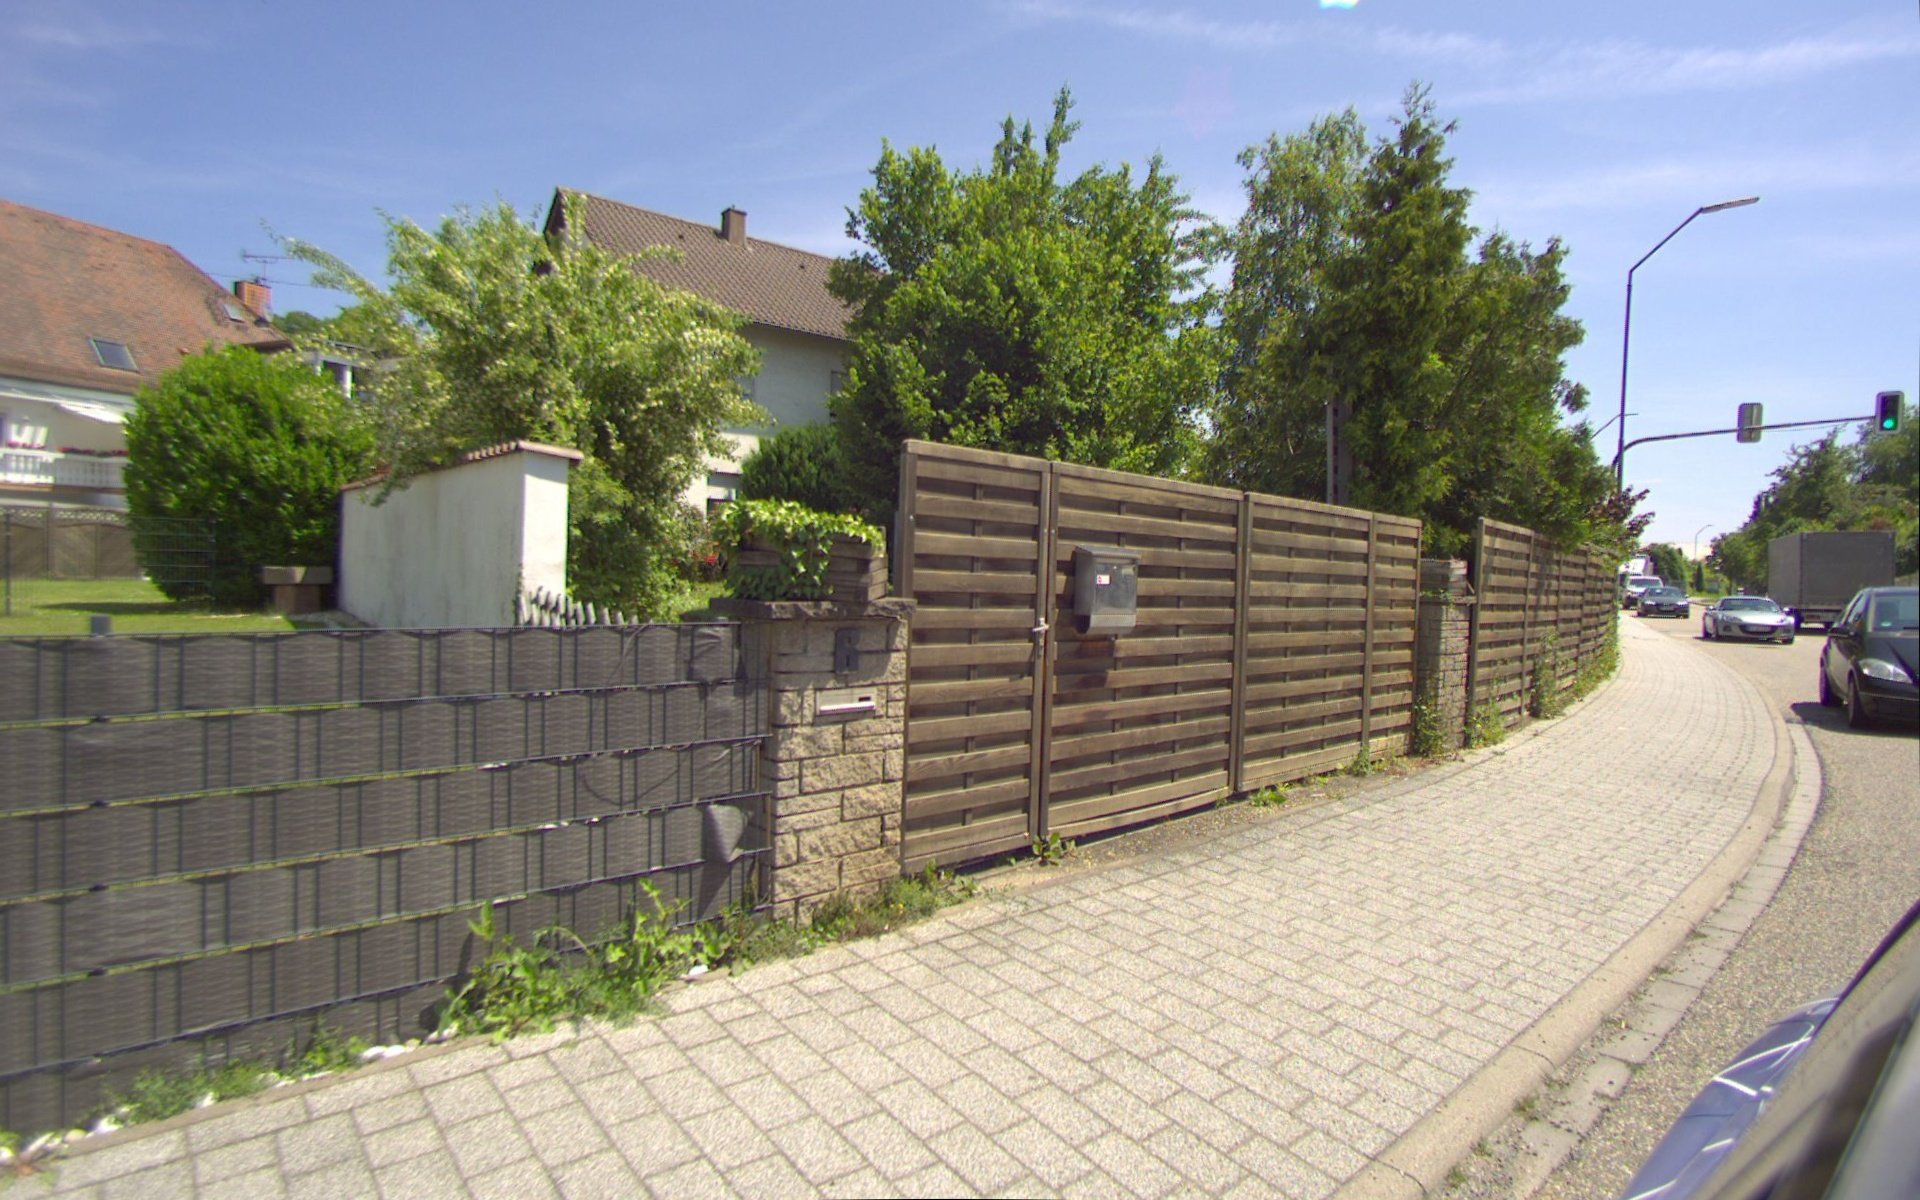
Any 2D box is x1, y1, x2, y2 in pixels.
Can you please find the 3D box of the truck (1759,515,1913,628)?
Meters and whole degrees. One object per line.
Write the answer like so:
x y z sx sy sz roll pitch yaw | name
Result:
29.630 -0.900 34.578 2.453 3.410 7.537 -1 0 30 | truck

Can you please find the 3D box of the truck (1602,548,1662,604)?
48.372 -1.723 73.048 3.184 3.642 8.210 6 4 32 | truck

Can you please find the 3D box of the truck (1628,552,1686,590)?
66.645 -2.802 96.984 2.825 3.271 8.099 5 3 23 | truck

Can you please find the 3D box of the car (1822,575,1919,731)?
11.538 0.523 11.888 1.754 1.612 4.145 1 1 35 | car

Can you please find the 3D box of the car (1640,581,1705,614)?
32.218 -0.118 45.835 1.881 1.393 3.961 1 1 28 | car

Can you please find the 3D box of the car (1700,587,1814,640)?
22.184 0.319 28.330 1.798 1.330 3.961 1 1 28 | car

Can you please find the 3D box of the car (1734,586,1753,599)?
95.707 -0.917 123.617 1.819 1.544 3.508 1 1 39 | car

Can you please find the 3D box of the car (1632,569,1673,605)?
39.587 -0.754 57.921 1.855 1.932 4.977 0 1 33 | car
